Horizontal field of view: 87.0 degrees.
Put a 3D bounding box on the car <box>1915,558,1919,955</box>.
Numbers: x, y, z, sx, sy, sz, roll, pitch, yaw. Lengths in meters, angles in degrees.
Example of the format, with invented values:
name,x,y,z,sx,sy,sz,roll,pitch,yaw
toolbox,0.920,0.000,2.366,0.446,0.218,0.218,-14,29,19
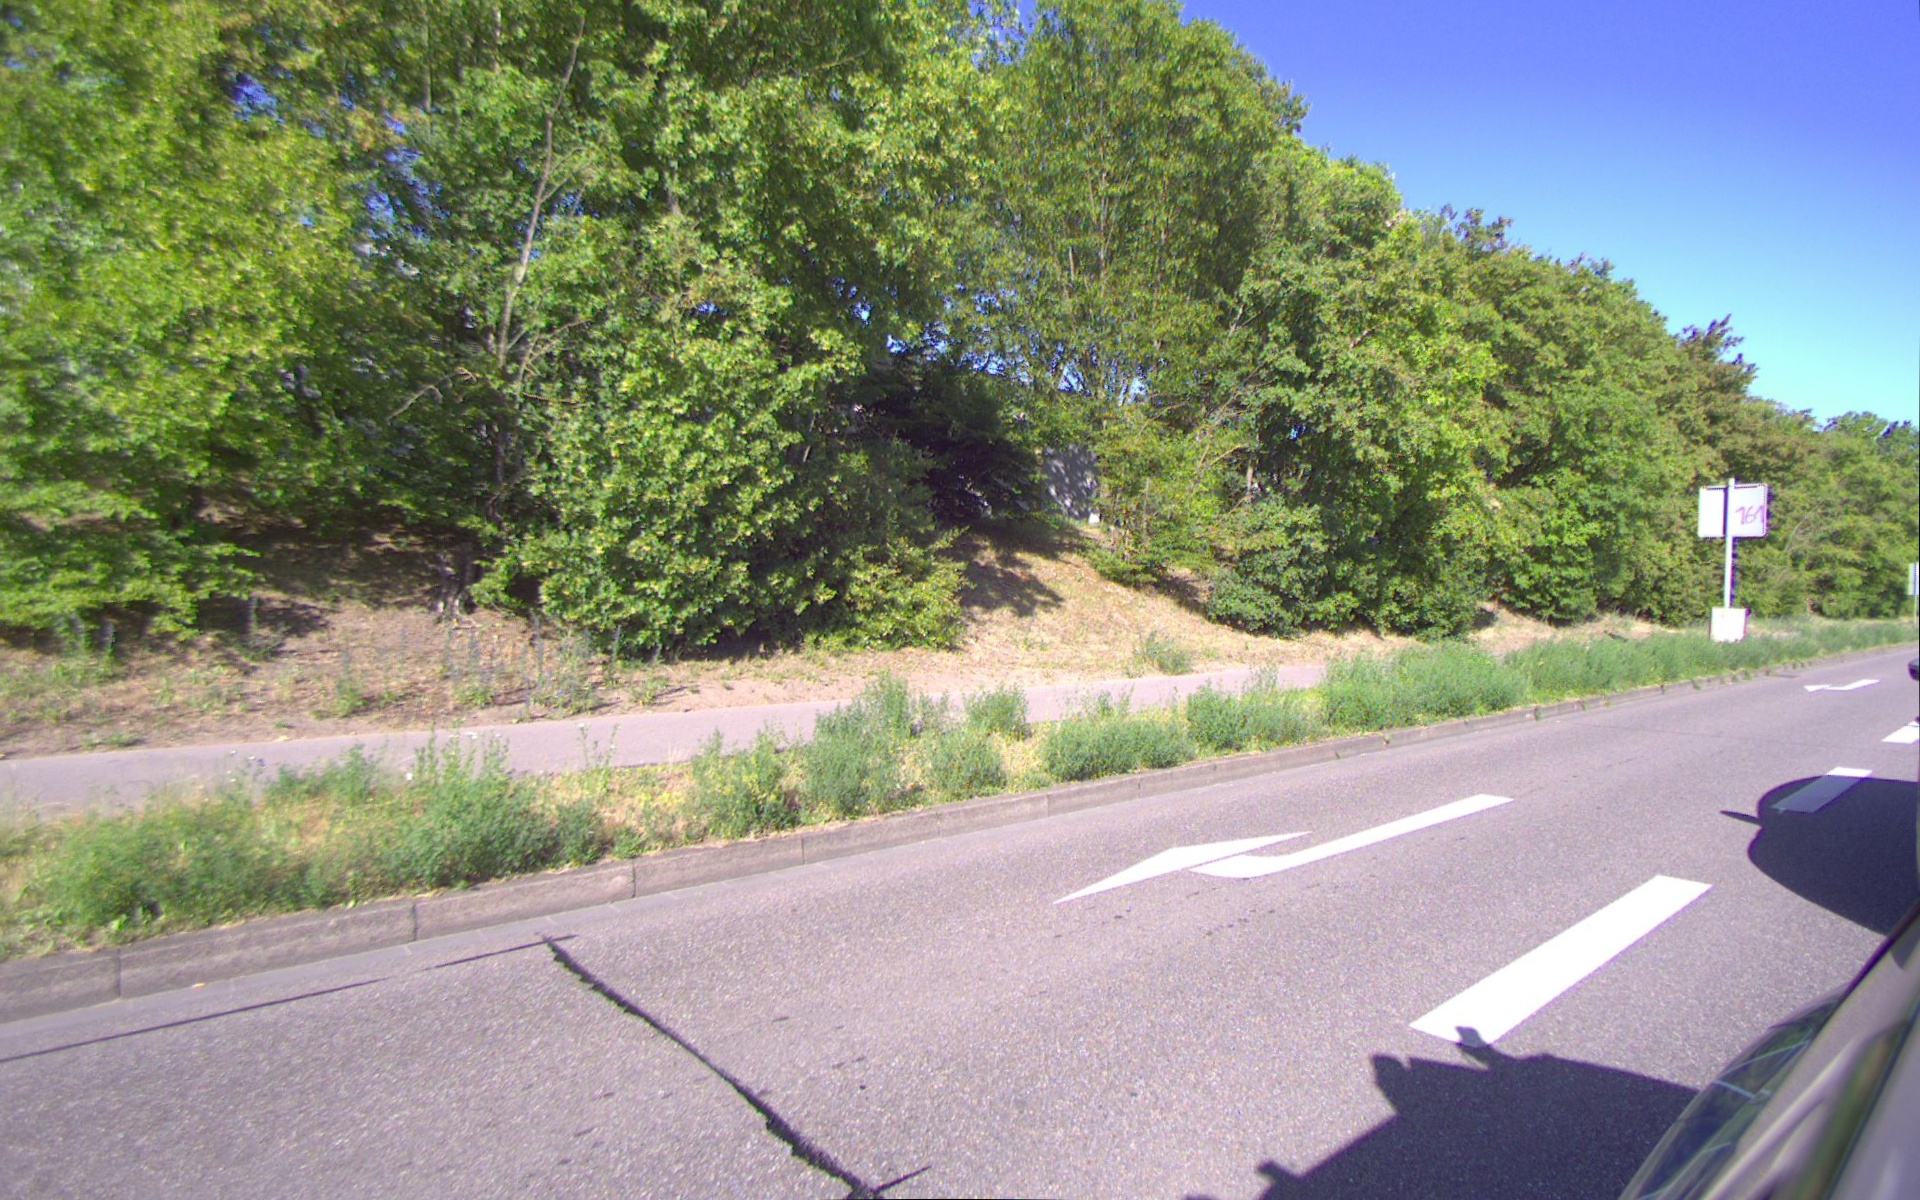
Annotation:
name,x,y,z,sx,sy,sz,roll,pitch,yaw
car,5.965,0.652,4.687,3.863,1.617,1.869,0,0,-41
